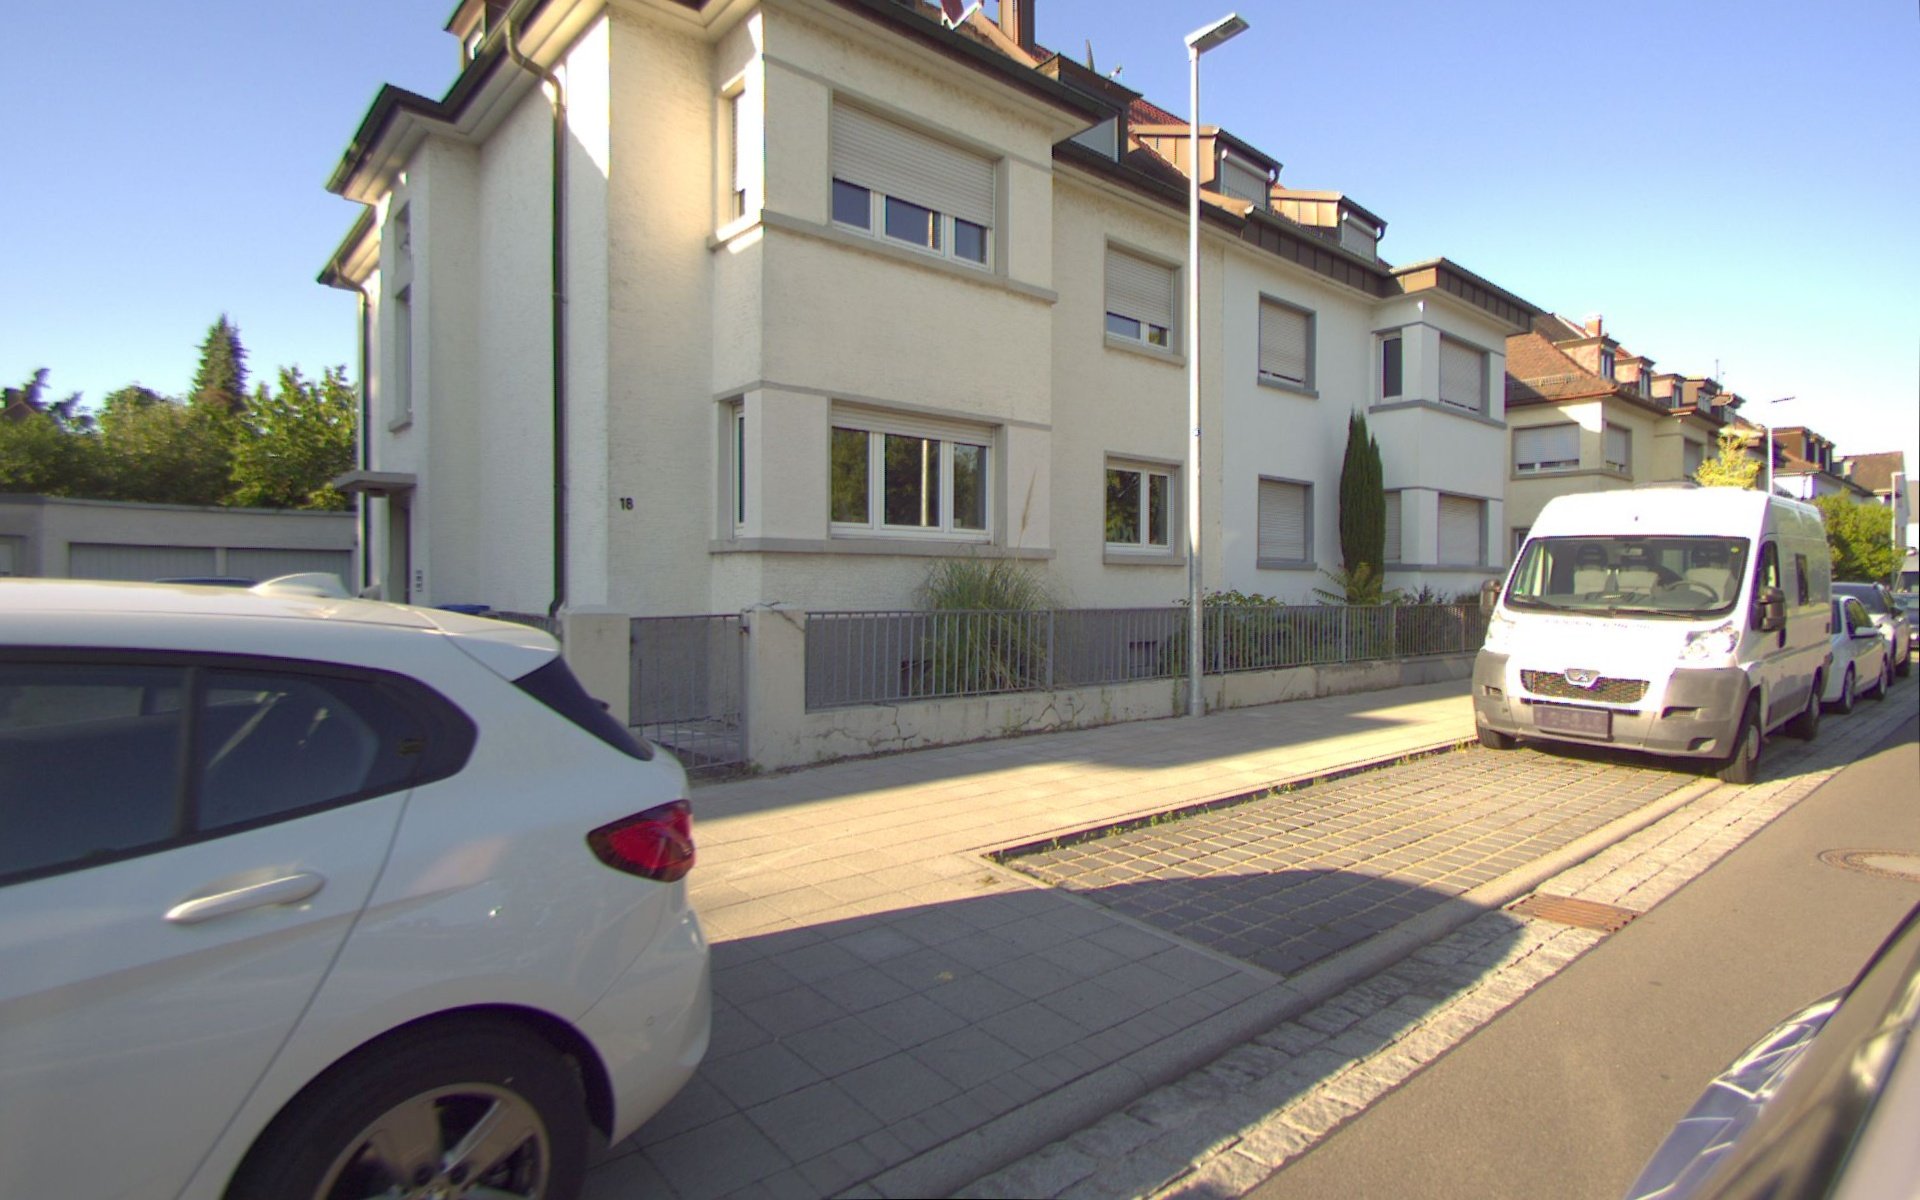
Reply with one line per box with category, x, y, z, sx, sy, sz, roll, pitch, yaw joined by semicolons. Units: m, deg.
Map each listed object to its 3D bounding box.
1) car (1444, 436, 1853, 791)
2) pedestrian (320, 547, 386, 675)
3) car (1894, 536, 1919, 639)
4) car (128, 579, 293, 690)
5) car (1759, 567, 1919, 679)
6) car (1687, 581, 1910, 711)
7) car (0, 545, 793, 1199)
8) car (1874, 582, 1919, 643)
car;6.940;0.044;9.897;5.416;2.549;2.132;-1;2;-43
pedestrian;-8.739;0.132;14.560;0.702;1.782;0.696;0;2;-42
car;29.370;-0.369;29.771;5.882;2.890;2.132;0;0;-41
car;-10.332;0.372;14.051;1.634;1.306;3.834;0;1;-36
car;15.324;0.318;17.360;4.403;1.665;1.781;0;2;-42
car;11.416;0.511;13.697;4.035;1.501;1.625;0;1;-40
car;-2.528;0.655;1.593;4.161;1.526;1.786;0;2;-42
car;24.783;0.309;25.801;3.933;1.457;1.629;0;3;-40
